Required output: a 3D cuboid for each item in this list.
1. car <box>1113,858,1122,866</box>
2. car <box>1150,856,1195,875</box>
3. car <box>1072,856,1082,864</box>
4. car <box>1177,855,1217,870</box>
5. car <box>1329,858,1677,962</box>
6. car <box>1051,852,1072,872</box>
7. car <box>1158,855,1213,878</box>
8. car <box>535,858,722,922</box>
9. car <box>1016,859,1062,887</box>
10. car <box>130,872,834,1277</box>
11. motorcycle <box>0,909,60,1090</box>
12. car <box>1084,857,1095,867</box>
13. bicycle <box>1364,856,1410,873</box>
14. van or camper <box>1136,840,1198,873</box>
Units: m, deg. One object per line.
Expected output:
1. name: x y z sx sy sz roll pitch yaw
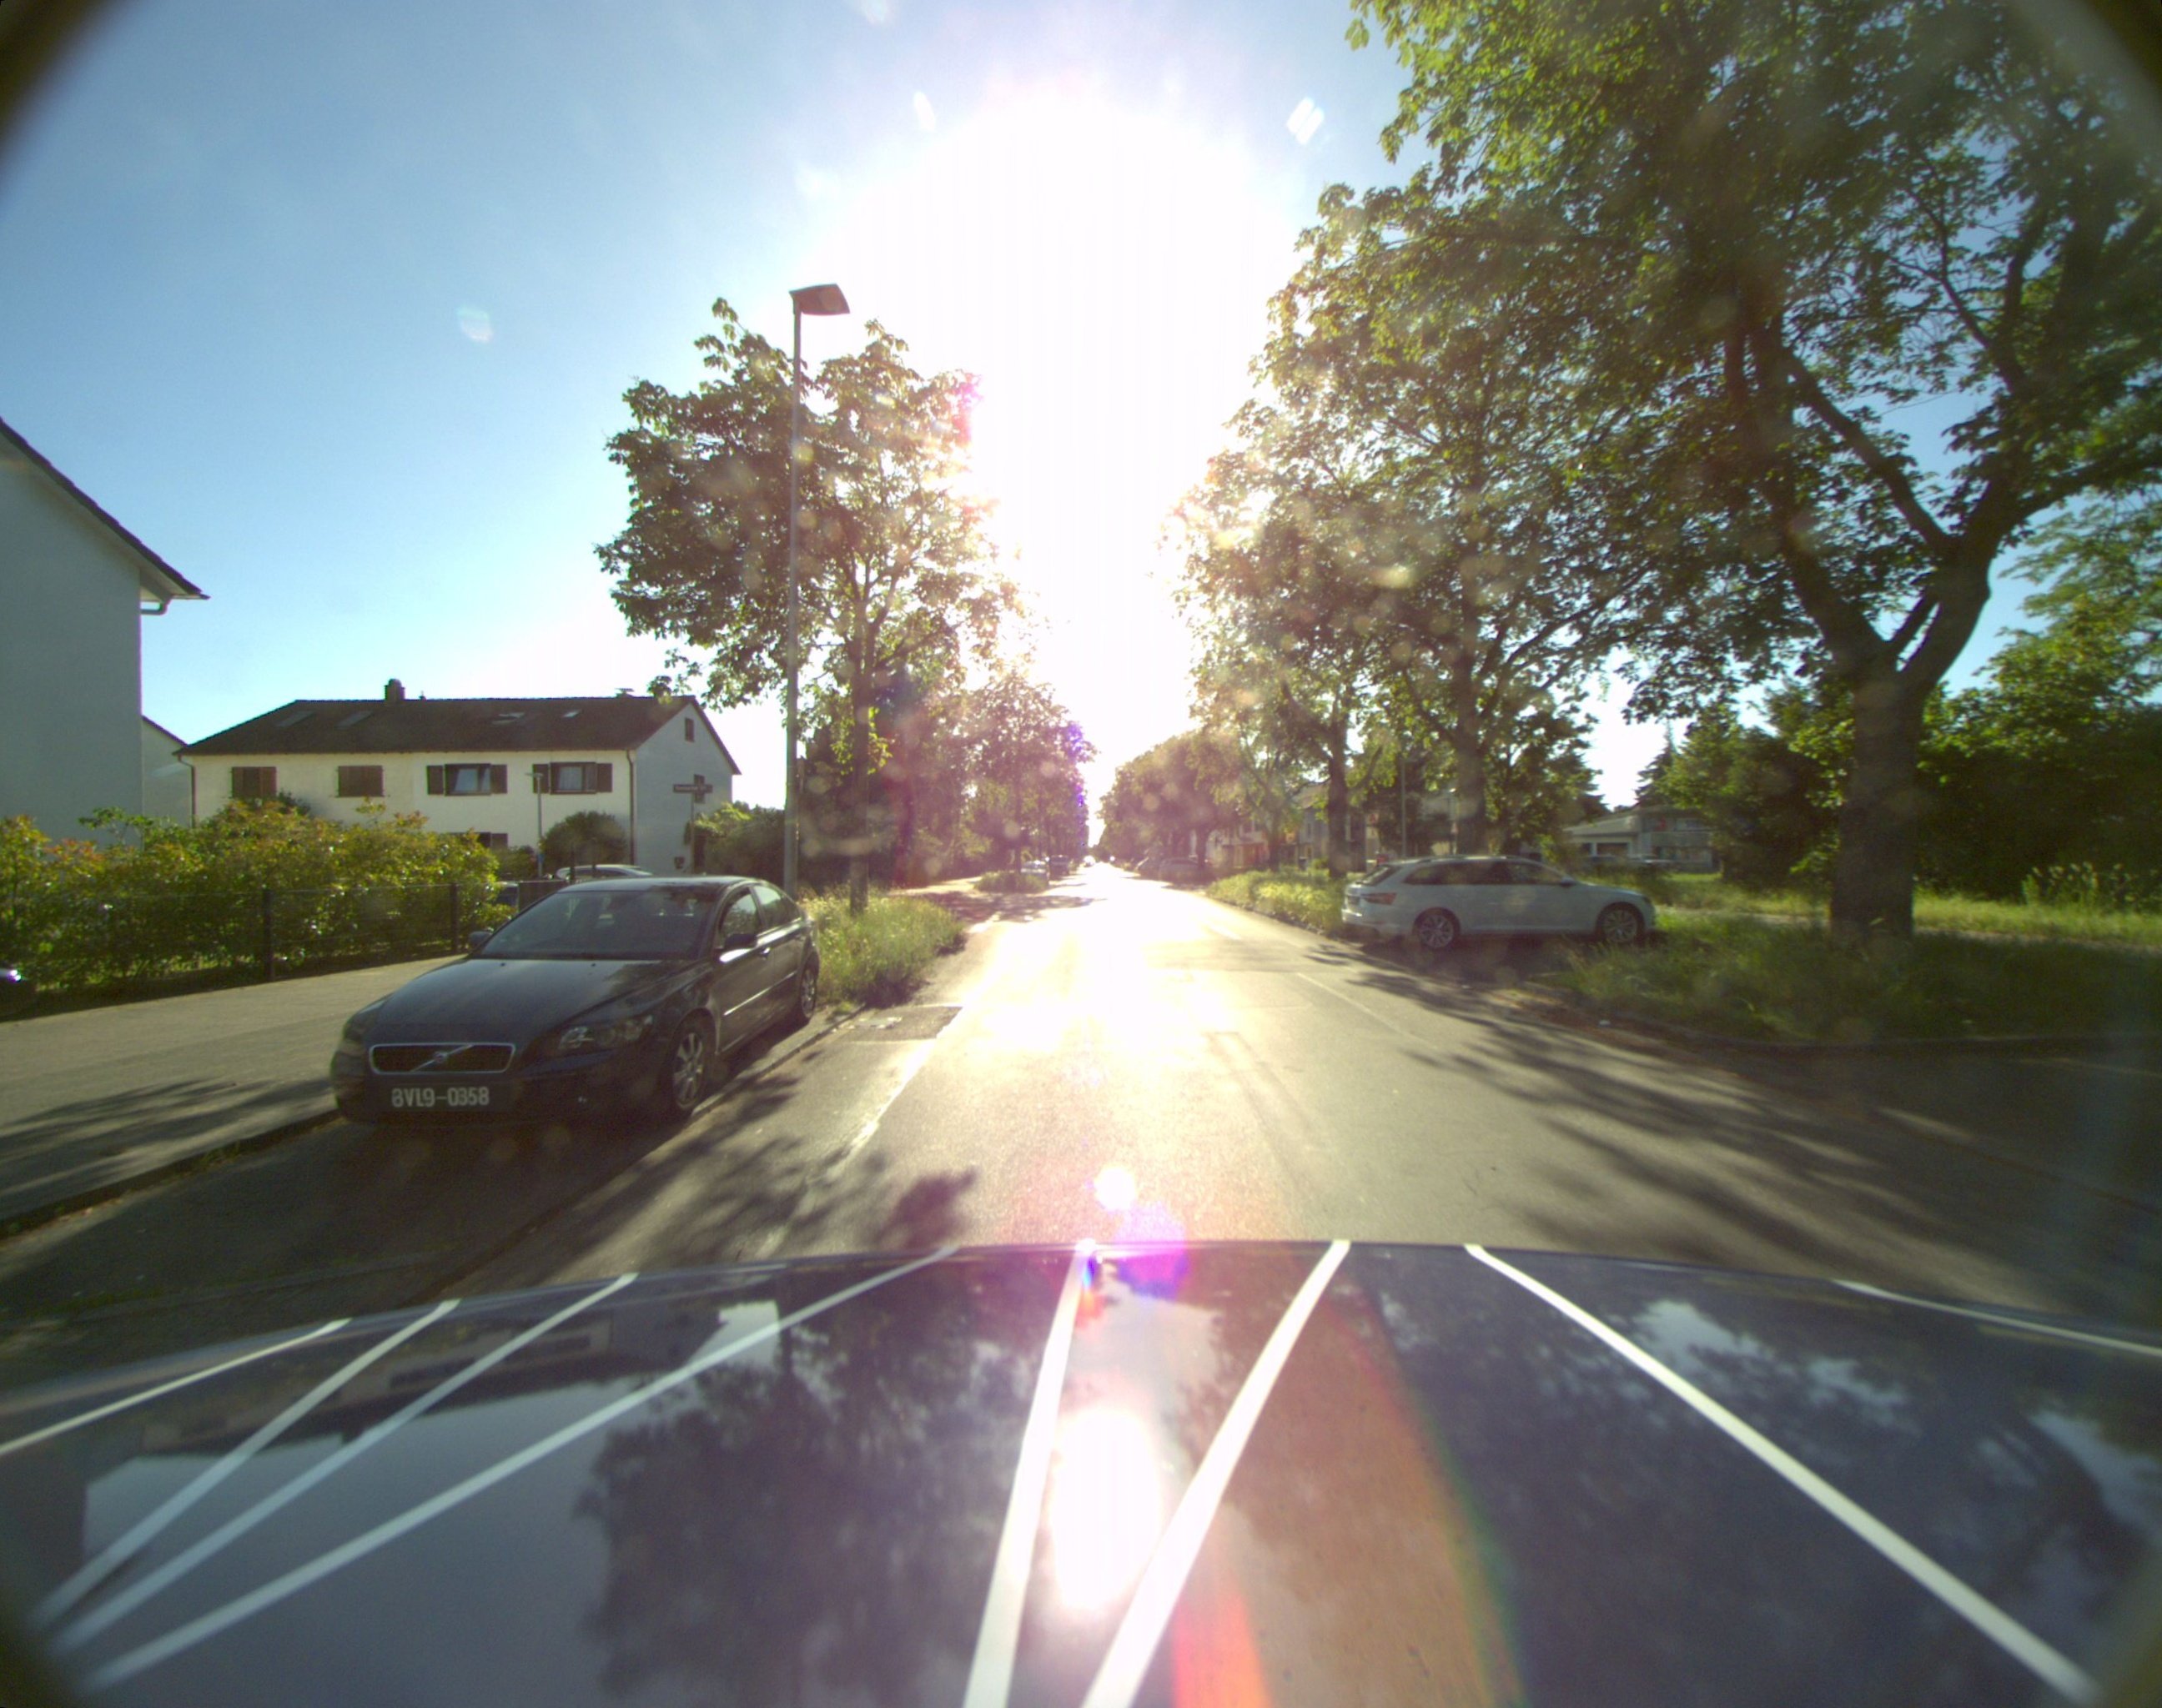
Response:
1. car: 8.334 1.823 173.360 1.998 1.530 3.695 -4 0 3
2. car: 8.742 1.077 72.828 3.997 1.450 2.000 -4 1 -1
3. car: -0.789 1.262 157.529 1.941 1.684 4.363 -1 0 3
4. car: 12.956 0.944 84.933 3.998 1.533 1.869 -2 1 -4
5. car: 6.814 0.883 12.717 4.682 1.494 2.000 -1 0 2
6. car: -2.123 0.881 84.209 1.999 2.002 5.195 -4 0 0
7. car: 8.079 0.967 58.975 3.997 1.651 1.967 -1 0 0
8. car: -12.272 0.943 20.835 3.999 1.630 1.775 -1 0 -5
9. car: -2.428 1.088 44.736 1.997 1.501 4.002 0 1 8
10. car: -3.463 1.061 5.739 1.999 1.612 4.379 -4 0 -5
11. motorcycle: -7.827 1.004 4.336 0.820 1.220 2.352 1 0 0
12. car: 1.445 1.305 126.779 1.539 1.582 3.459 -4 1 3
13. bicycle: 21.605 0.722 53.766 0.706 1.169 4.051 -1 -1 -16
14. van or camper: 8.532 0.236 75.696 5.789 2.789 2.000 -4 1 3
